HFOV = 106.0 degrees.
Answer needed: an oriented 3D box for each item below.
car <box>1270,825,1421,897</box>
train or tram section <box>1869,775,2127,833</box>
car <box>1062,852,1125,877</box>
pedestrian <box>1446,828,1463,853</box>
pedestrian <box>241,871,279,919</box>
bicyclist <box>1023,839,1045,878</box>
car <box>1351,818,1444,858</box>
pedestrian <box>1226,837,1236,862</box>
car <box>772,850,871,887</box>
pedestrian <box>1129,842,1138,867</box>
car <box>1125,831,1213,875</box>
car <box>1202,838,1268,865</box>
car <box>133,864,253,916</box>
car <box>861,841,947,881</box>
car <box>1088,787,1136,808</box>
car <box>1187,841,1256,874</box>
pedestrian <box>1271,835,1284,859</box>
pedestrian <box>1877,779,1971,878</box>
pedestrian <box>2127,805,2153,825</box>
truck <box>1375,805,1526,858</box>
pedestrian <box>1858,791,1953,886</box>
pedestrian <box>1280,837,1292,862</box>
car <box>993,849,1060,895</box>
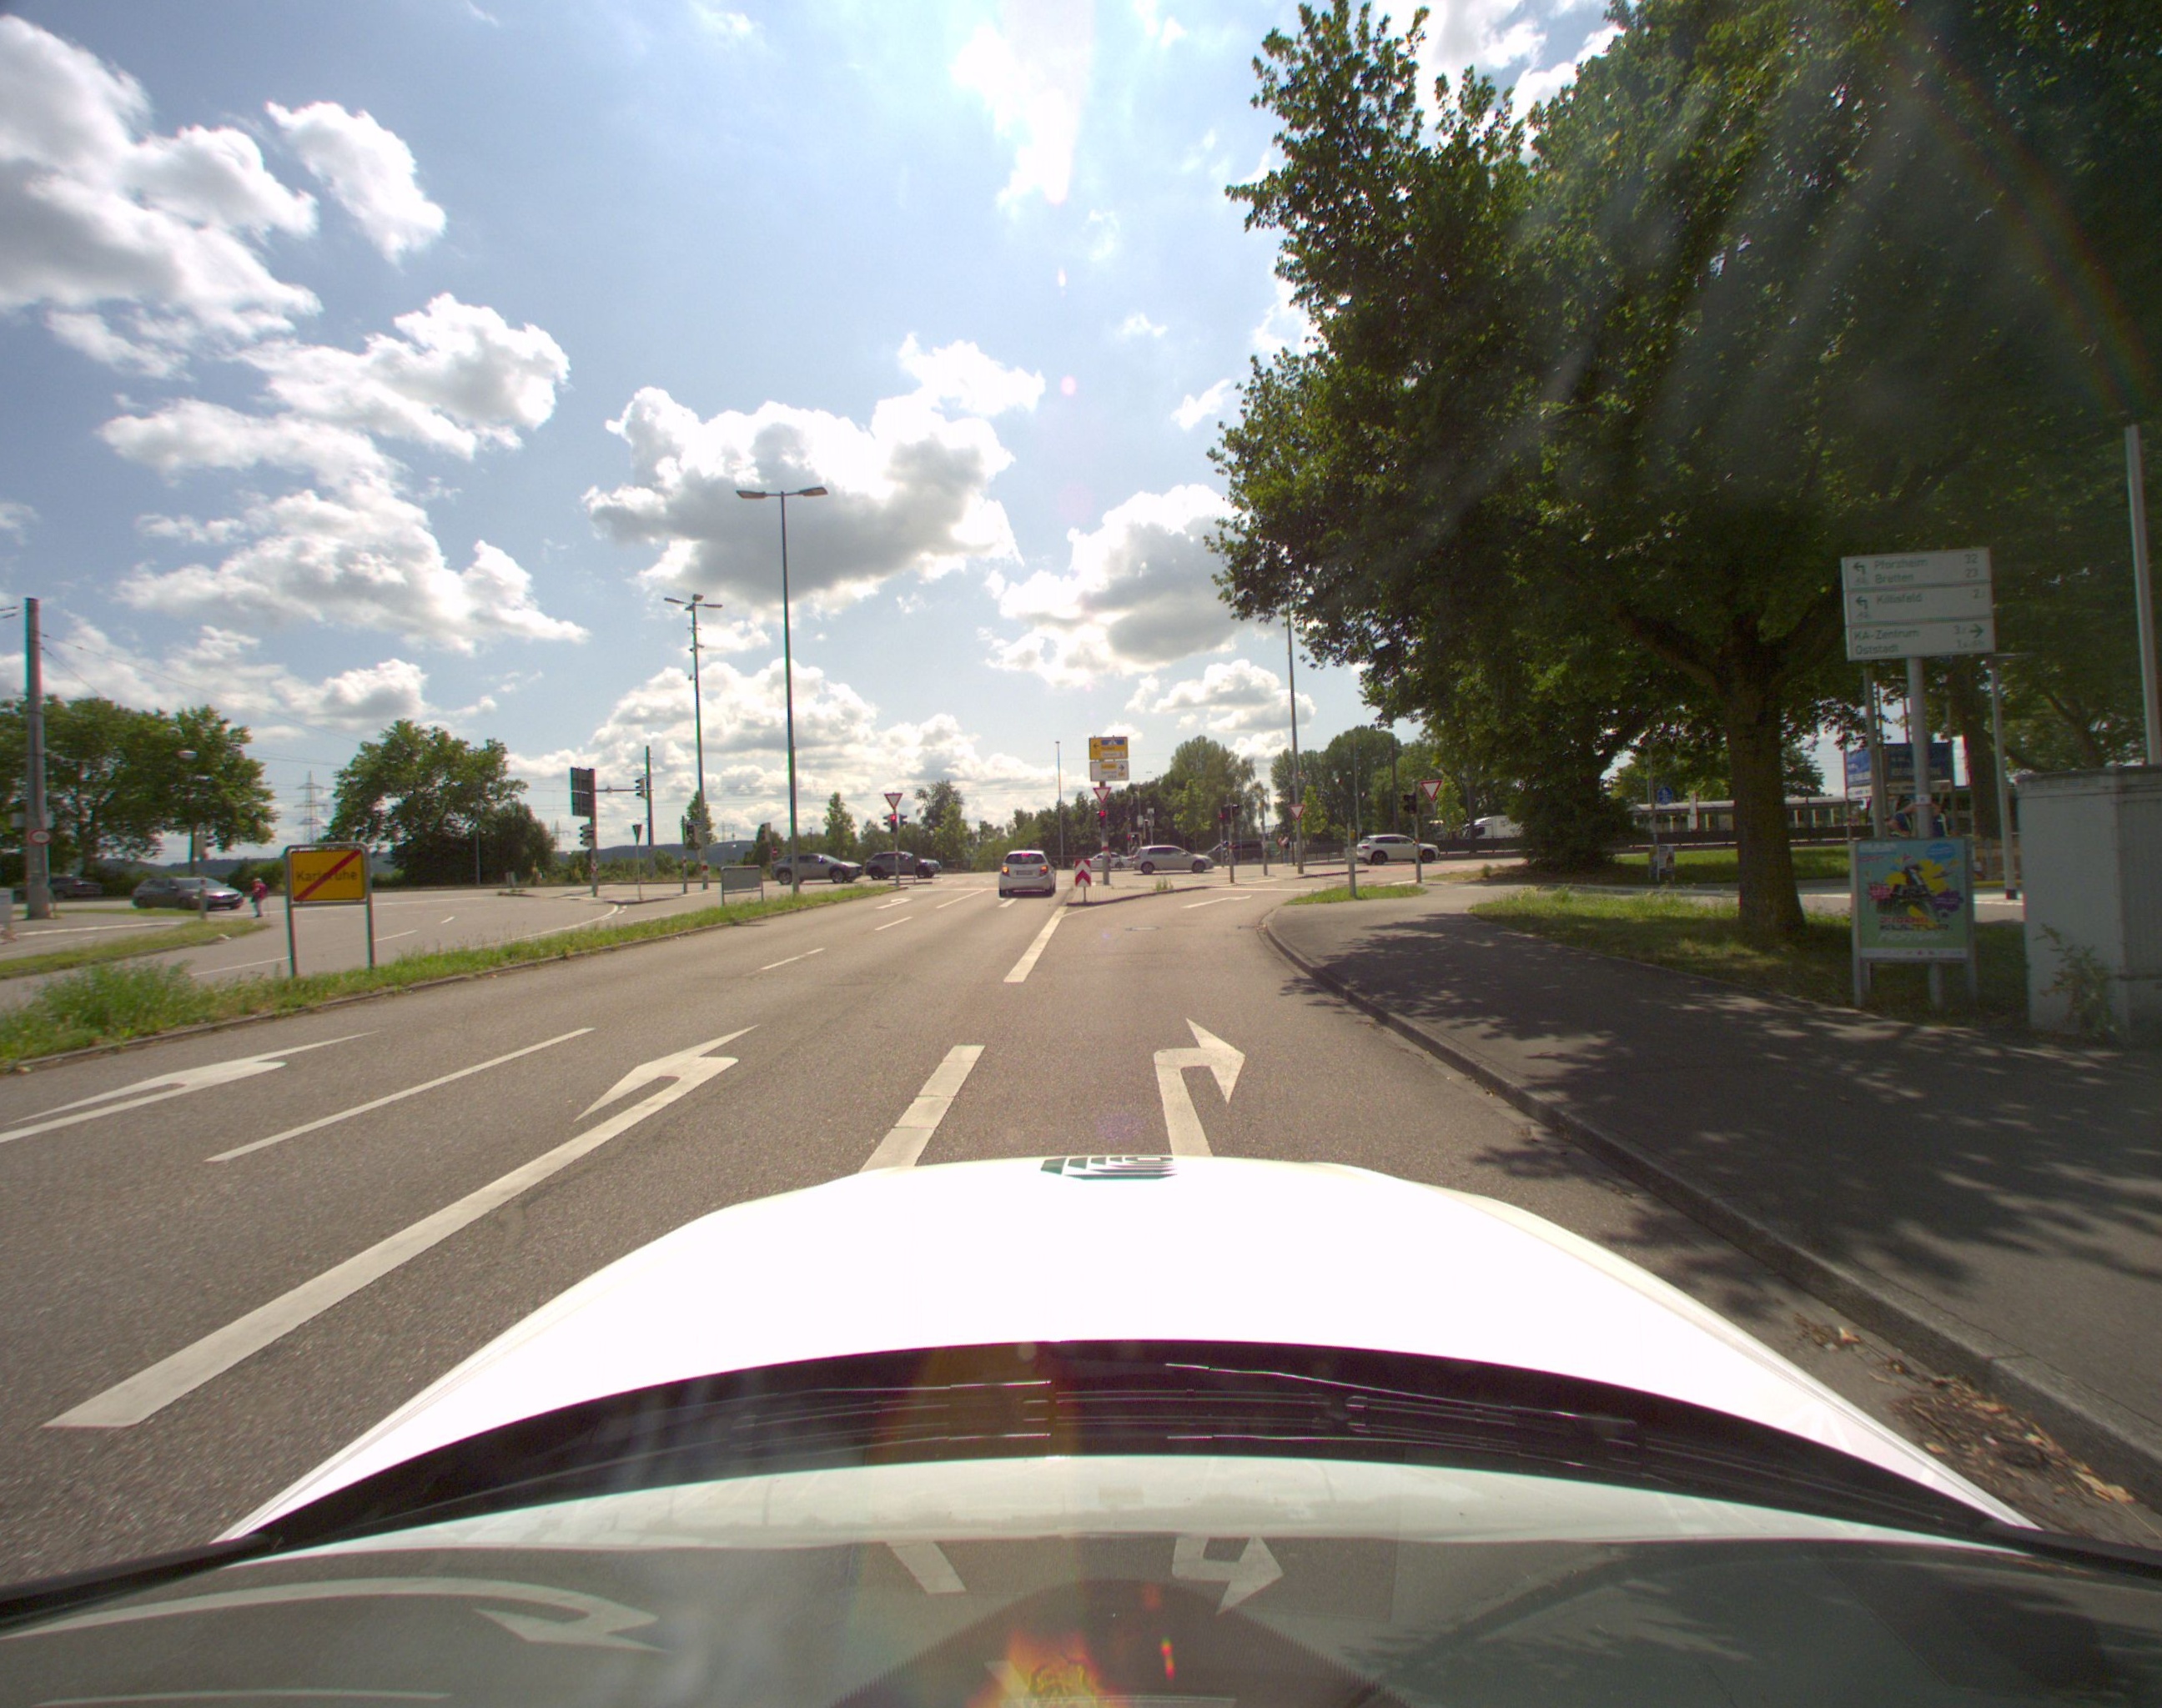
[{"bbox_3d":[6.436,0.153,20.109,3.198,1.531,1.719,-3,0,6],"label":"car"},{"bbox_3d":[60.069,-3.258,53.528,14.018,3.186,3.045,-2,-1,-2],"label":"train or tram section"},{"bbox_3d":[1.063,0.845,68.161,5.100,1.808,2.000,-3,0,0],"label":"car"},{"bbox_3d":[27.653,-1.030,60.301,0.923,1.807,0.736,-2,0,0],"label":"pedestrian"},{"bbox_3d":[-32.126,1.580,31.865,0.800,1.837,0.859,0,-1,-27],"label":"pedestrian"},{"bbox_3d":[-2.288,0.201,39.656,0.918,1.846,0.611,-2,0,1],"label":"bicyclist"},{"bbox_3d":[17.583,-0.881,45.399,4.334,1.989,2.000,-3,0,0],"label":"car"},{"bbox_3d":[10.670,-0.341,58.021,0.520,1.721,0.731,-3,0,5],"label":"pedestrian"},{"bbox_3d":[-13.676,0.743,43.092,4.487,1.674,1.905,-3,0,2],"label":"car"},{"bbox_3d":[3.851,0.048,59.559,0.608,1.769,0.673,-2,0,3],"label":"pedestrian"},{"bbox_3d":[4.558,-0.054,42.568,4.334,1.989,2.000,-3,0,0],"label":"car"},{"bbox_3d":[11.776,-0.158,62.631,4.635,1.820,2.000,-3,0,1],"label":"car"},{"bbox_3d":[-39.210,1.566,35.980,3.955,2.013,2.009,-3,0,17],"label":"car"},{"bbox_3d":[-9.985,0.388,46.166,4.334,1.989,2.000,-3,0,0],"label":"car"},{"bbox_3d":[2.691,-4.972,71.814,4.017,1.464,1.932,-3,0,-2],"label":"car"},{"bbox_3d":[8.853,0.210,51.551,3.975,1.783,1.909,-3,0,-1],"label":"car"},{"bbox_3d":[14.263,-0.508,59.059,0.703,1.721,0.601,-3,0,4],"label":"pedestrian"},{"bbox_3d":[18.543,-0.547,17.946,1.000,2.072,0.978,-3,-1,16],"label":"pedestrian"},{"bbox_3d":[64.039,-2.336,49.236,0.638,1.190,0.695,-2,1,0],"label":"pedestrian"},{"bbox_3d":[32.816,-1.981,72.627,11.913,4.104,2.953,-2,0,1],"label":"truck"},{"bbox_3d":[17.414,-0.322,17.241,1.000,1.902,0.978,-3,-1,16],"label":"pedestrian"},{"bbox_3d":[14.676,-0.324,58.228,0.673,1.748,0.638,-2,1,4],"label":"pedestrian"},{"bbox_3d":[-1.780,0.576,27.912,1.887,1.470,3.835,-1,0,2],"label":"car"}]
